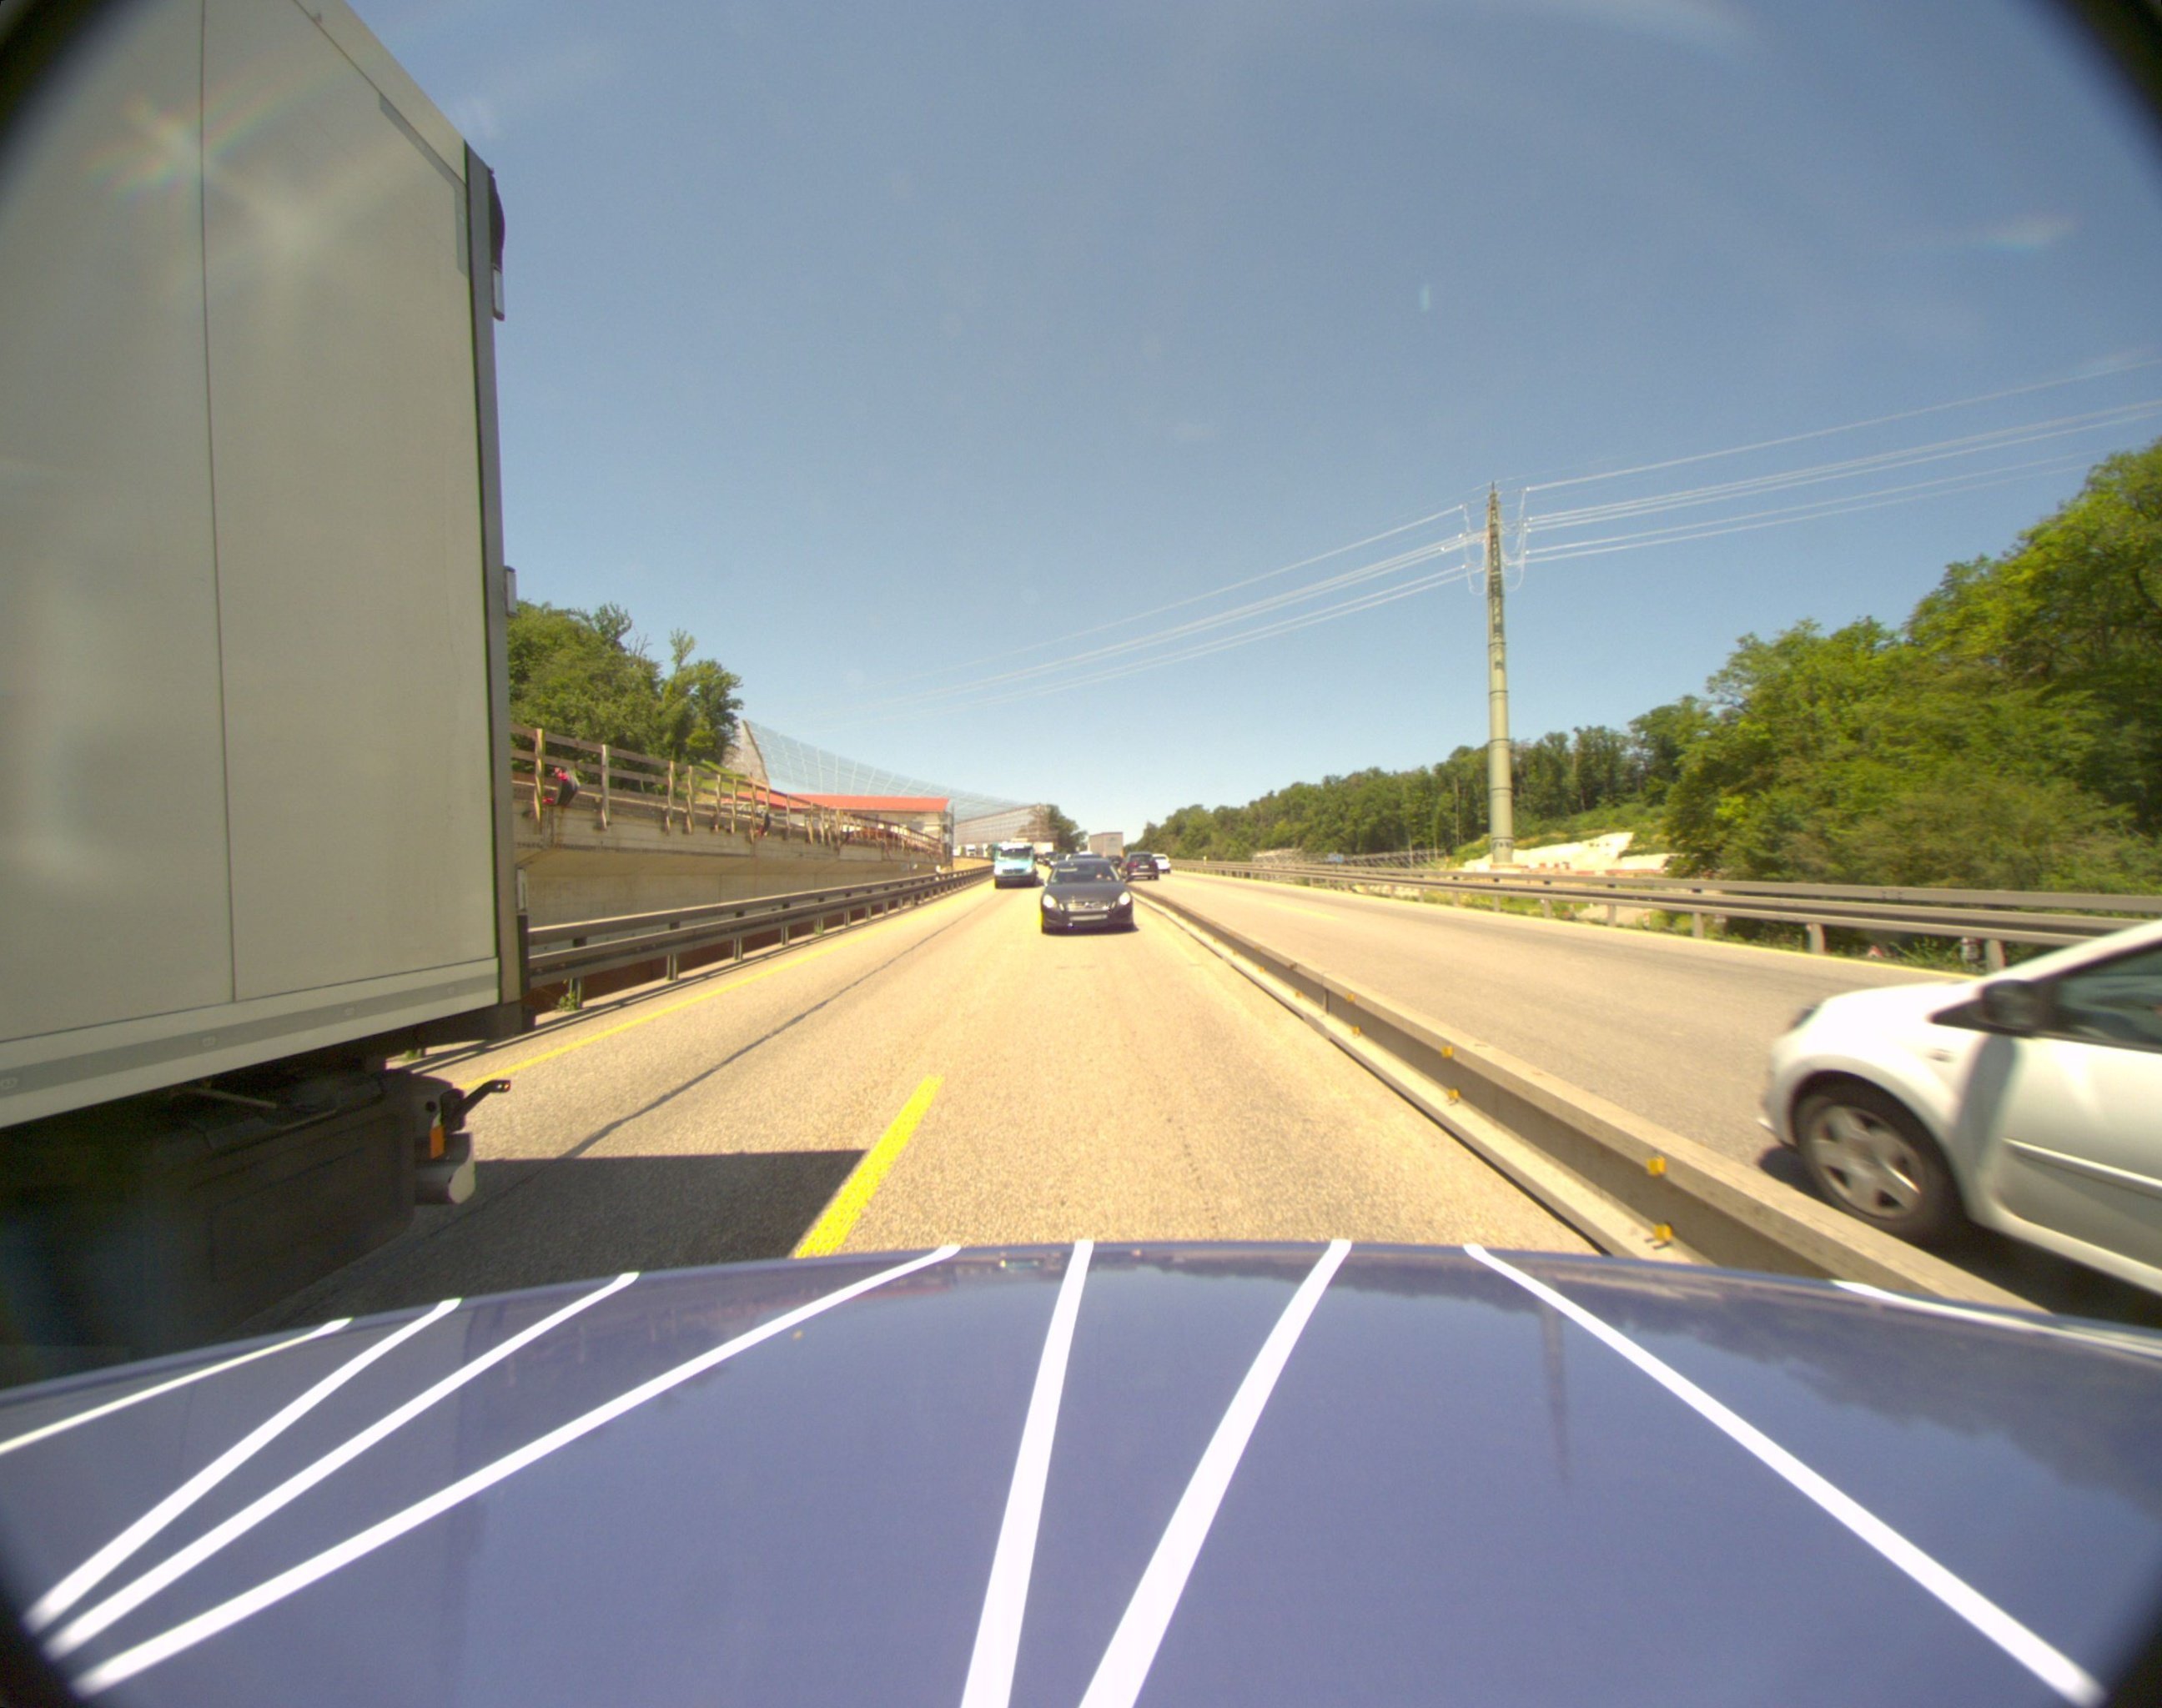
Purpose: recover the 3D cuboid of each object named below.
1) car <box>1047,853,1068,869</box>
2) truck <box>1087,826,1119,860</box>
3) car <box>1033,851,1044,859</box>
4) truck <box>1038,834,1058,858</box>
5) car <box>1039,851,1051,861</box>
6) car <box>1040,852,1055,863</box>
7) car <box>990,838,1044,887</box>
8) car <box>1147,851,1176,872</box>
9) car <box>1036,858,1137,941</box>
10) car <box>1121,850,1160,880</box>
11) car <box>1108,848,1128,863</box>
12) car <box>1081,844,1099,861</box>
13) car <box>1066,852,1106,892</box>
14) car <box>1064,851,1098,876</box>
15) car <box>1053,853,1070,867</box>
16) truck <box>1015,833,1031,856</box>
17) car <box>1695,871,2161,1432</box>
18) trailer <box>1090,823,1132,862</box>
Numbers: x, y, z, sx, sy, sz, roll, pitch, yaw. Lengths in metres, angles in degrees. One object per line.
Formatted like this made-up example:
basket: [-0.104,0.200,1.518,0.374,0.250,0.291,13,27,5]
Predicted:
car: [-2.166,0.604,70.663,1.646,1.366,3.345,-3,1,3]
truck: [2.934,-1.473,104.379,3.406,4.396,7.271,-3,1,-5]
car: [-7.421,0.152,132.254,1.647,1.366,3.342,-3,1,-6]
truck: [-8.022,-1.878,182.842,3.567,5.334,16.082,-3,1,-6]
car: [-5.371,0.292,112.906,1.647,1.366,3.344,-3,1,-1]
car: [-4.354,0.429,97.779,1.647,1.366,3.342,-3,1,-6]
car: [-3.223,0.374,39.960,2.217,2.312,6.900,-2,1,0]
car: [6.128,0.515,58.199,1.704,1.484,3.999,-1,1,0]
car: [0.098,0.864,16.424,1.844,1.475,4.562,-2,0,0]
car: [3.423,0.588,44.540,1.922,1.586,4.527,-2,1,0]
car: [3.645,0.128,75.868,1.781,1.420,4.302,-1,1,0]
car: [1.033,-0.193,88.078,1.865,1.762,4.231,-3,1,-2]
car: [0.277,0.743,32.836,1.519,1.543,3.861,-2,1,3]
car: [-0.039,0.636,55.750,2.298,1.601,4.664,-3,1,-2]
car: [-2.136,0.648,82.864,1.647,1.366,3.343,-3,1,-3]
truck: [-9.479,-1.472,123.691,2.471,3.464,9.863,-3,1,-5]
car: [3.718,0.798,1.658,1.751,1.418,3.709,-1,0,0]
trailer: [3.631,-1.427,97.209,3.499,4.461,12.918,-3,1,-5]
